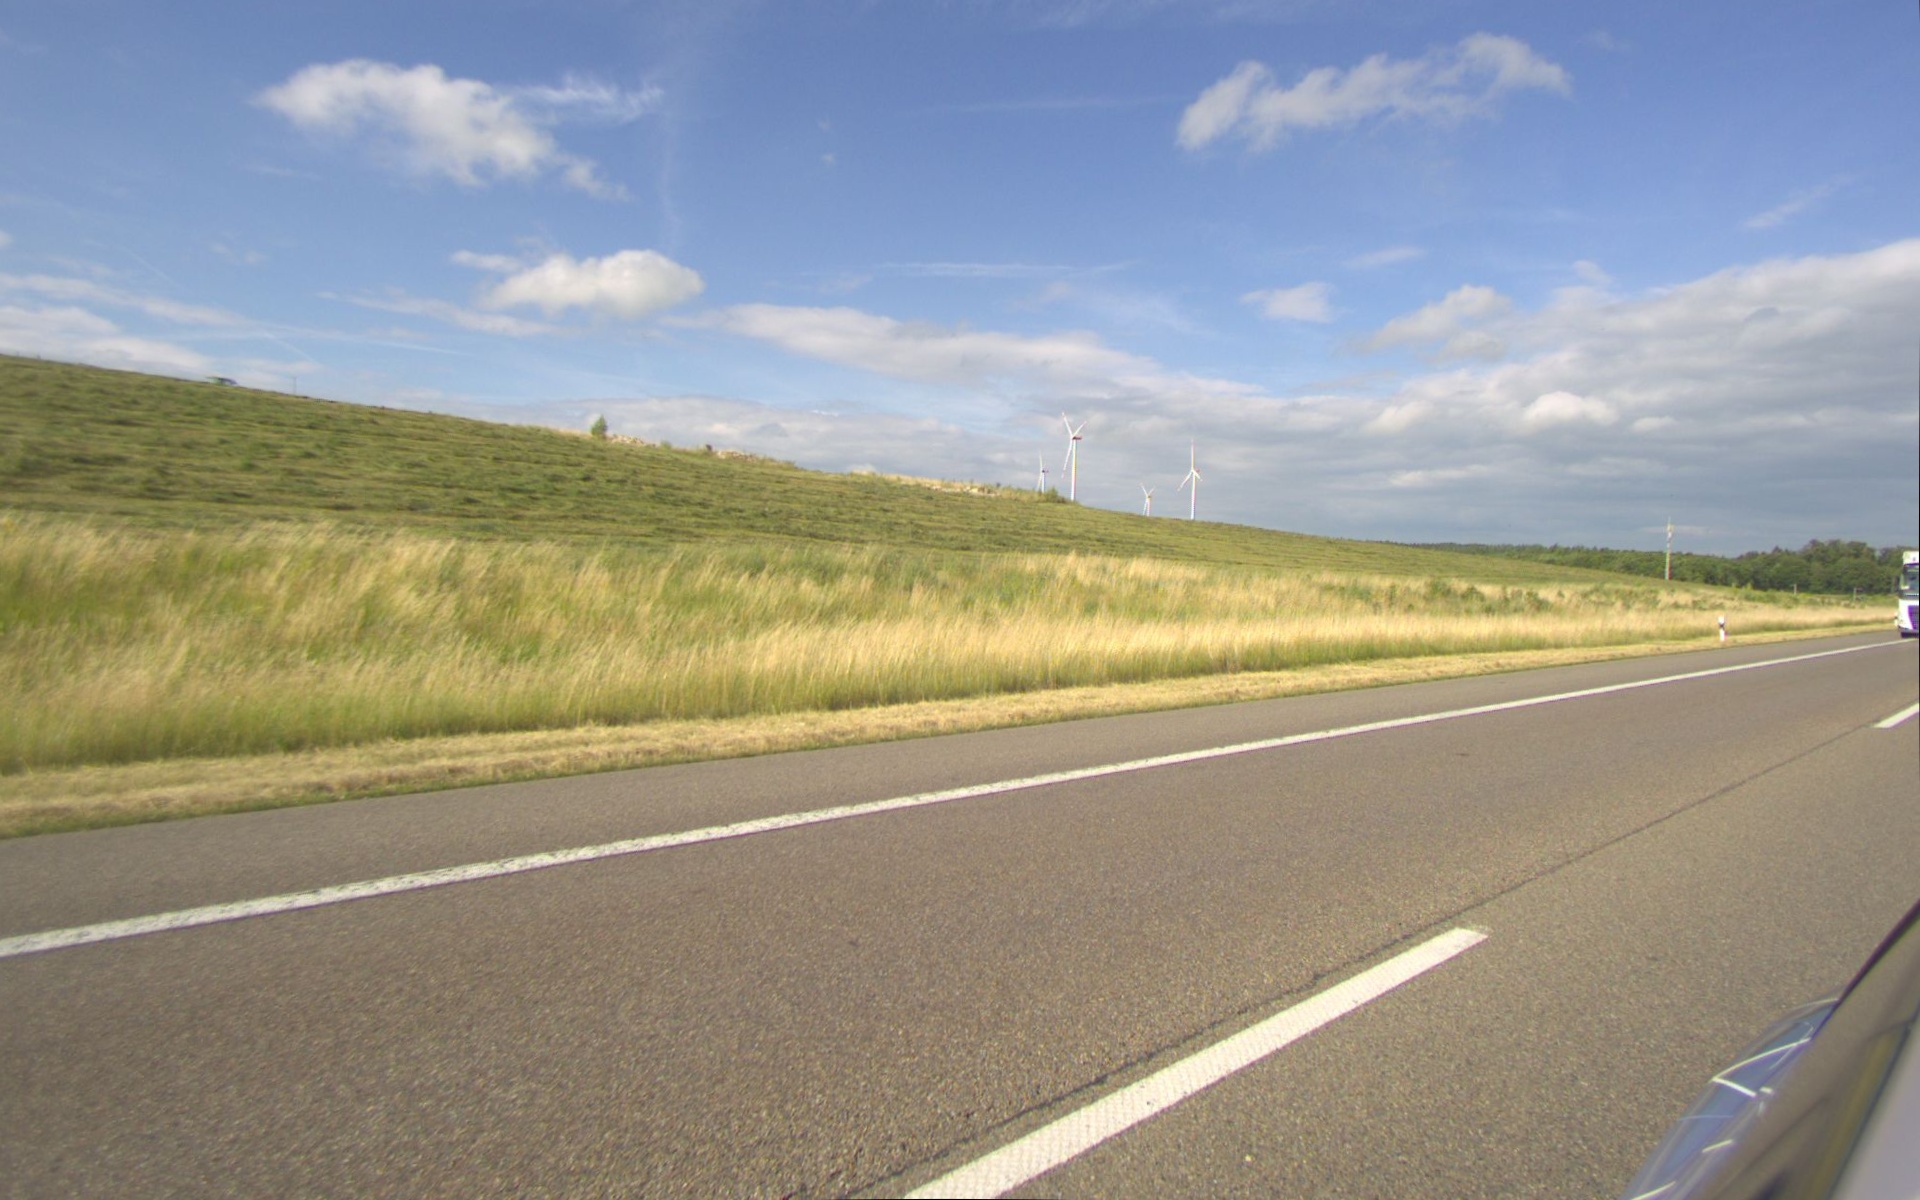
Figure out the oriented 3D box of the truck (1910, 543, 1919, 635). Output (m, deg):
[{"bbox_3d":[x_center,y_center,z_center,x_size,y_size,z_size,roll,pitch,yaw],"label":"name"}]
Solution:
[{"bbox_3d":[45.623,-0.506,46.253,6.012,4.092,2.605,0,0,-41],"label":"truck"}]
